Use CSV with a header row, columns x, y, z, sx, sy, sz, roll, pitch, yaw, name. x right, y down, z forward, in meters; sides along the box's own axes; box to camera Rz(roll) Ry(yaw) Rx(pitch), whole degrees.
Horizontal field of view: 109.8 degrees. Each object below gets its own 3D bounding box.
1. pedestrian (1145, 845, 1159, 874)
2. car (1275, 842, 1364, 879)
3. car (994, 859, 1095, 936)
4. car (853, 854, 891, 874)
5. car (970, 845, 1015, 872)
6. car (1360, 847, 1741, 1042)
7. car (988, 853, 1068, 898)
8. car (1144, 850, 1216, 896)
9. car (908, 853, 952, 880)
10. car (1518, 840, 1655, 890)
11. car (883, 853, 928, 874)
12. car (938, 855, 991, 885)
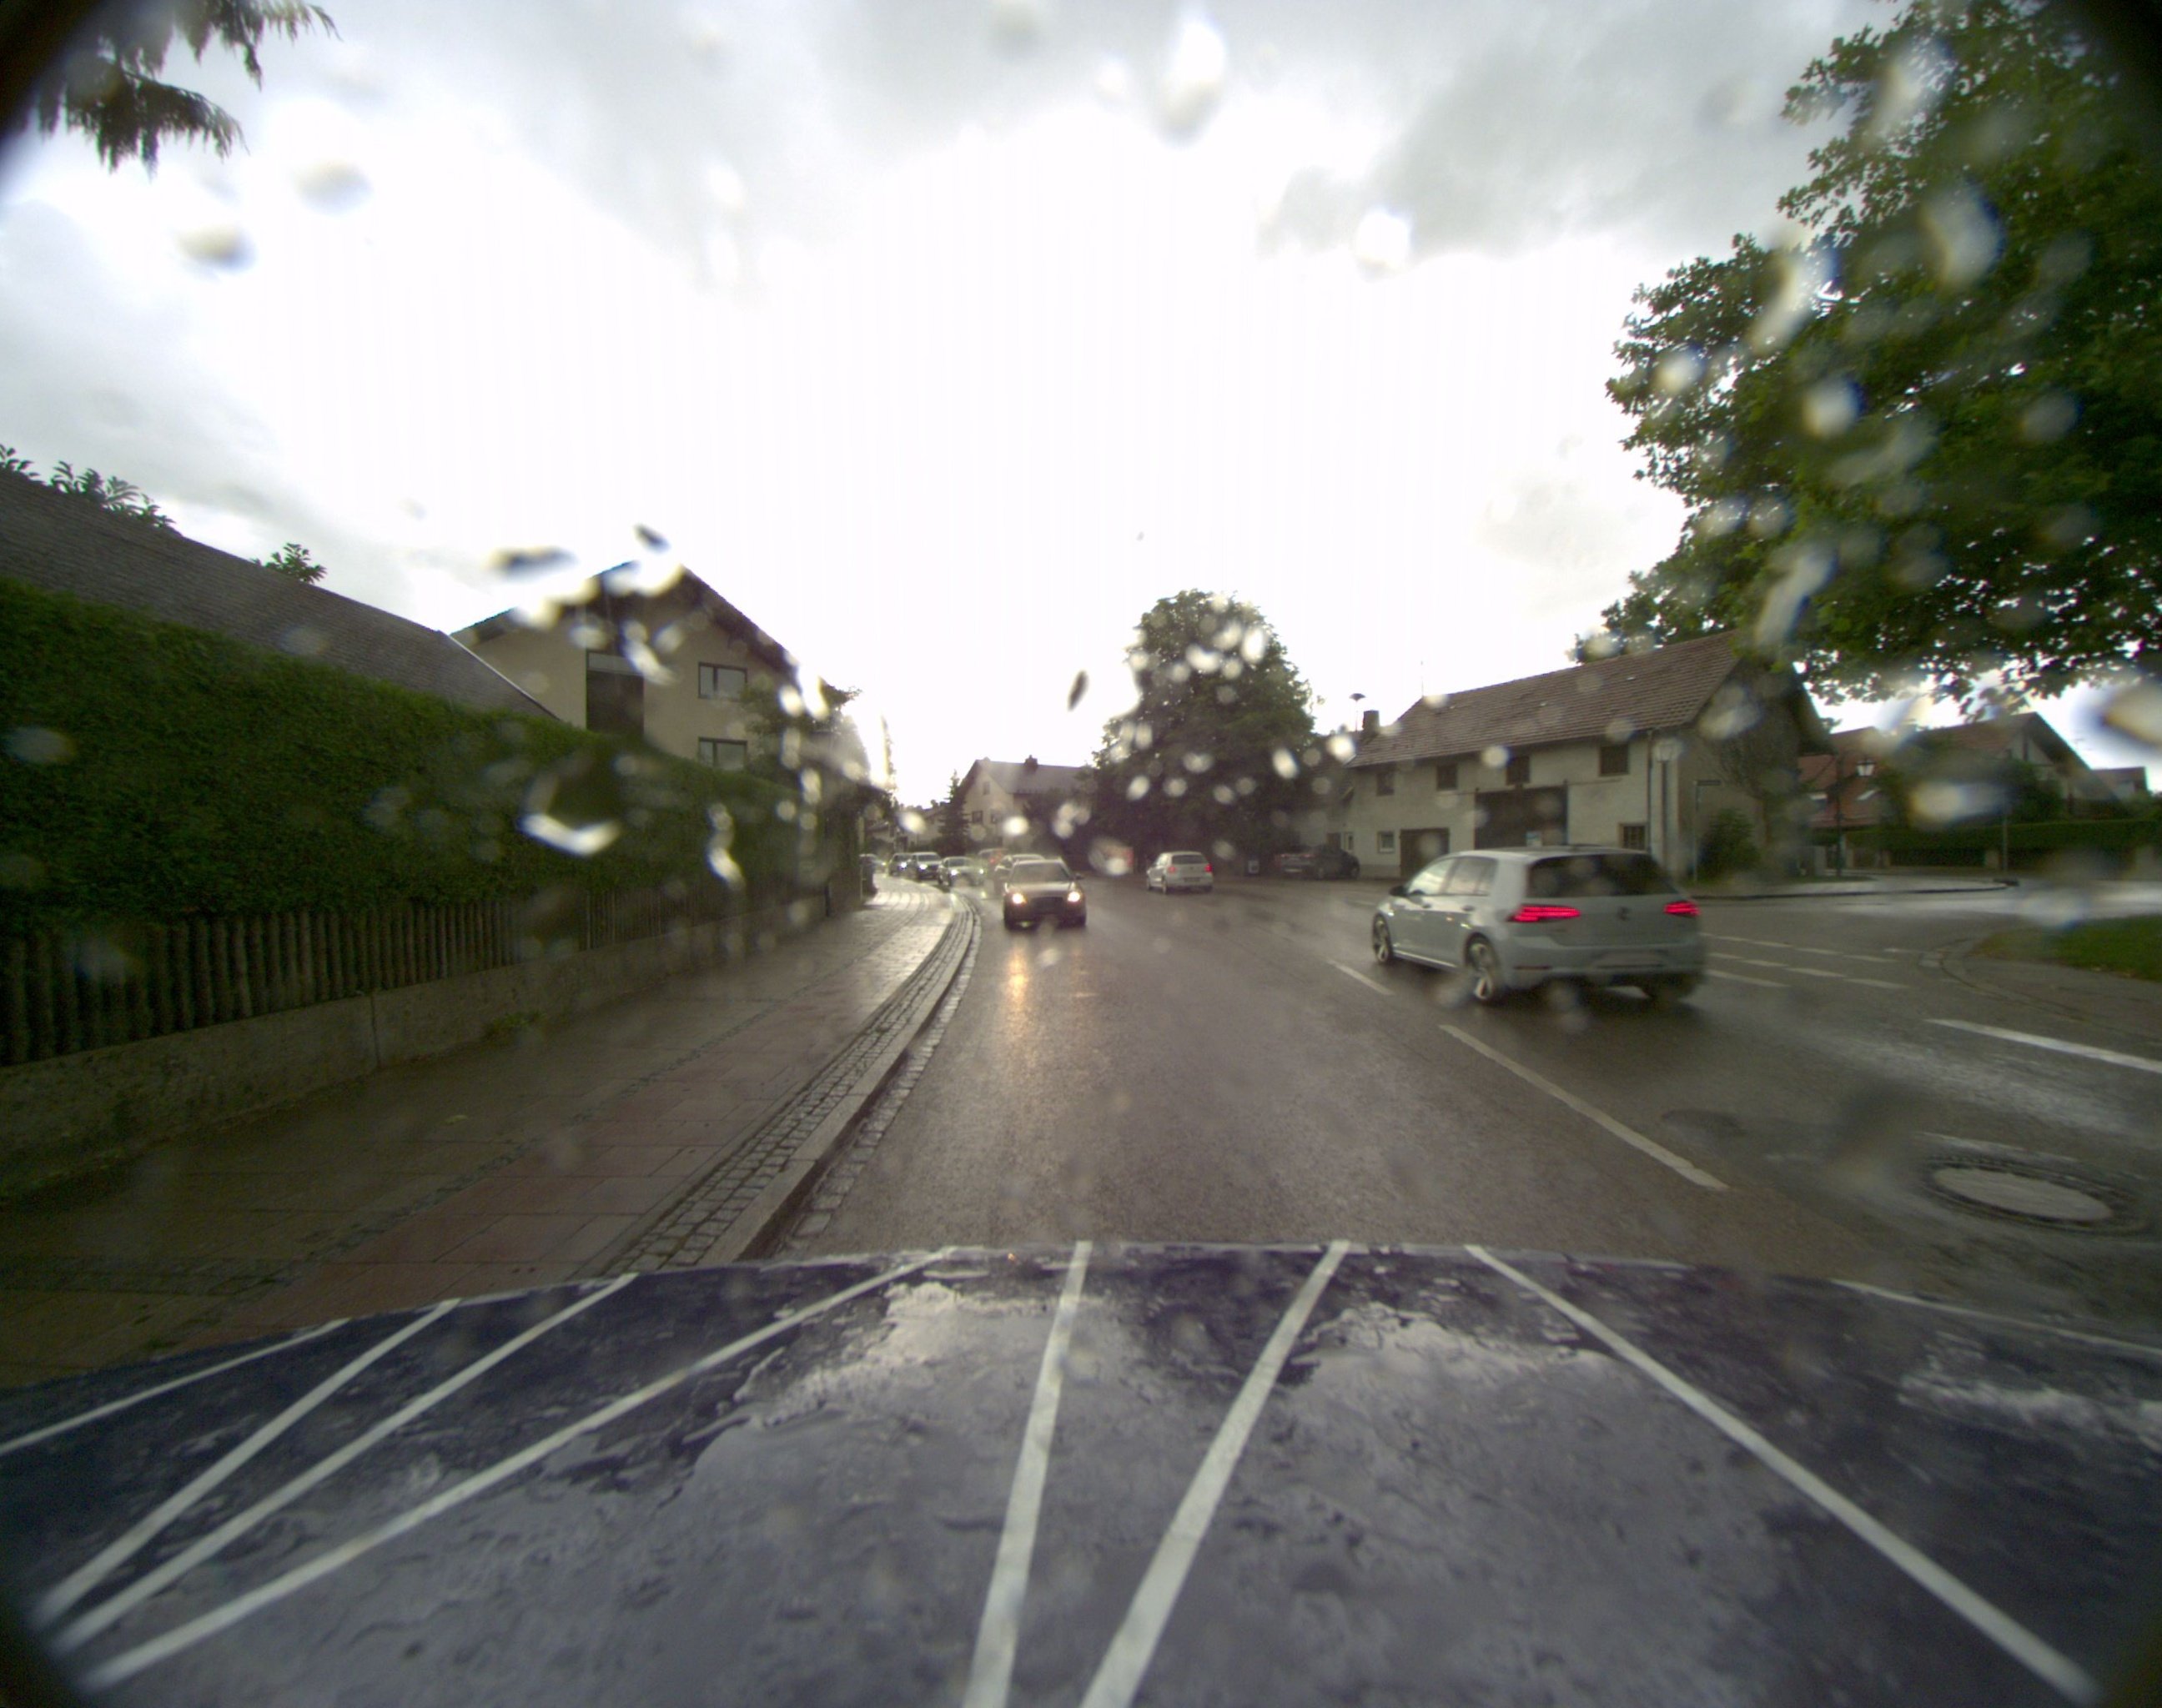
x,y,z,sx,sy,sz,roll,pitch,yaw,name
3.993,0.305,42.443,0.652,1.619,0.479,-1,1,18,pedestrian
10.676,0.284,33.868,4.290,1.539,1.812,0,0,-41,car
-0.976,0.886,17.442,1.795,1.387,4.277,-3,1,-9,car
-17.506,0.832,63.528,1.798,1.539,4.271,-3,1,-32,car
-6.200,0.308,52.894,1.647,1.755,4.321,-3,1,-26,car
4.440,0.711,8.012,1.720,1.434,4.000,-3,1,4,car
-2.179,0.749,29.517,1.796,1.471,5.376,-3,1,-18,car
3.461,0.632,27.234,1.623,1.436,3.667,-2,1,-8,car
-9.601,0.730,47.995,1.797,1.539,4.273,-3,1,-23,car
16.432,0.309,24.656,4.287,1.428,1.817,-2,1,-27,car
-12.745,0.676,55.052,1.798,1.365,4.271,-3,1,-32,car
-6.111,0.793,39.454,1.796,1.387,4.273,-3,1,-21,car
